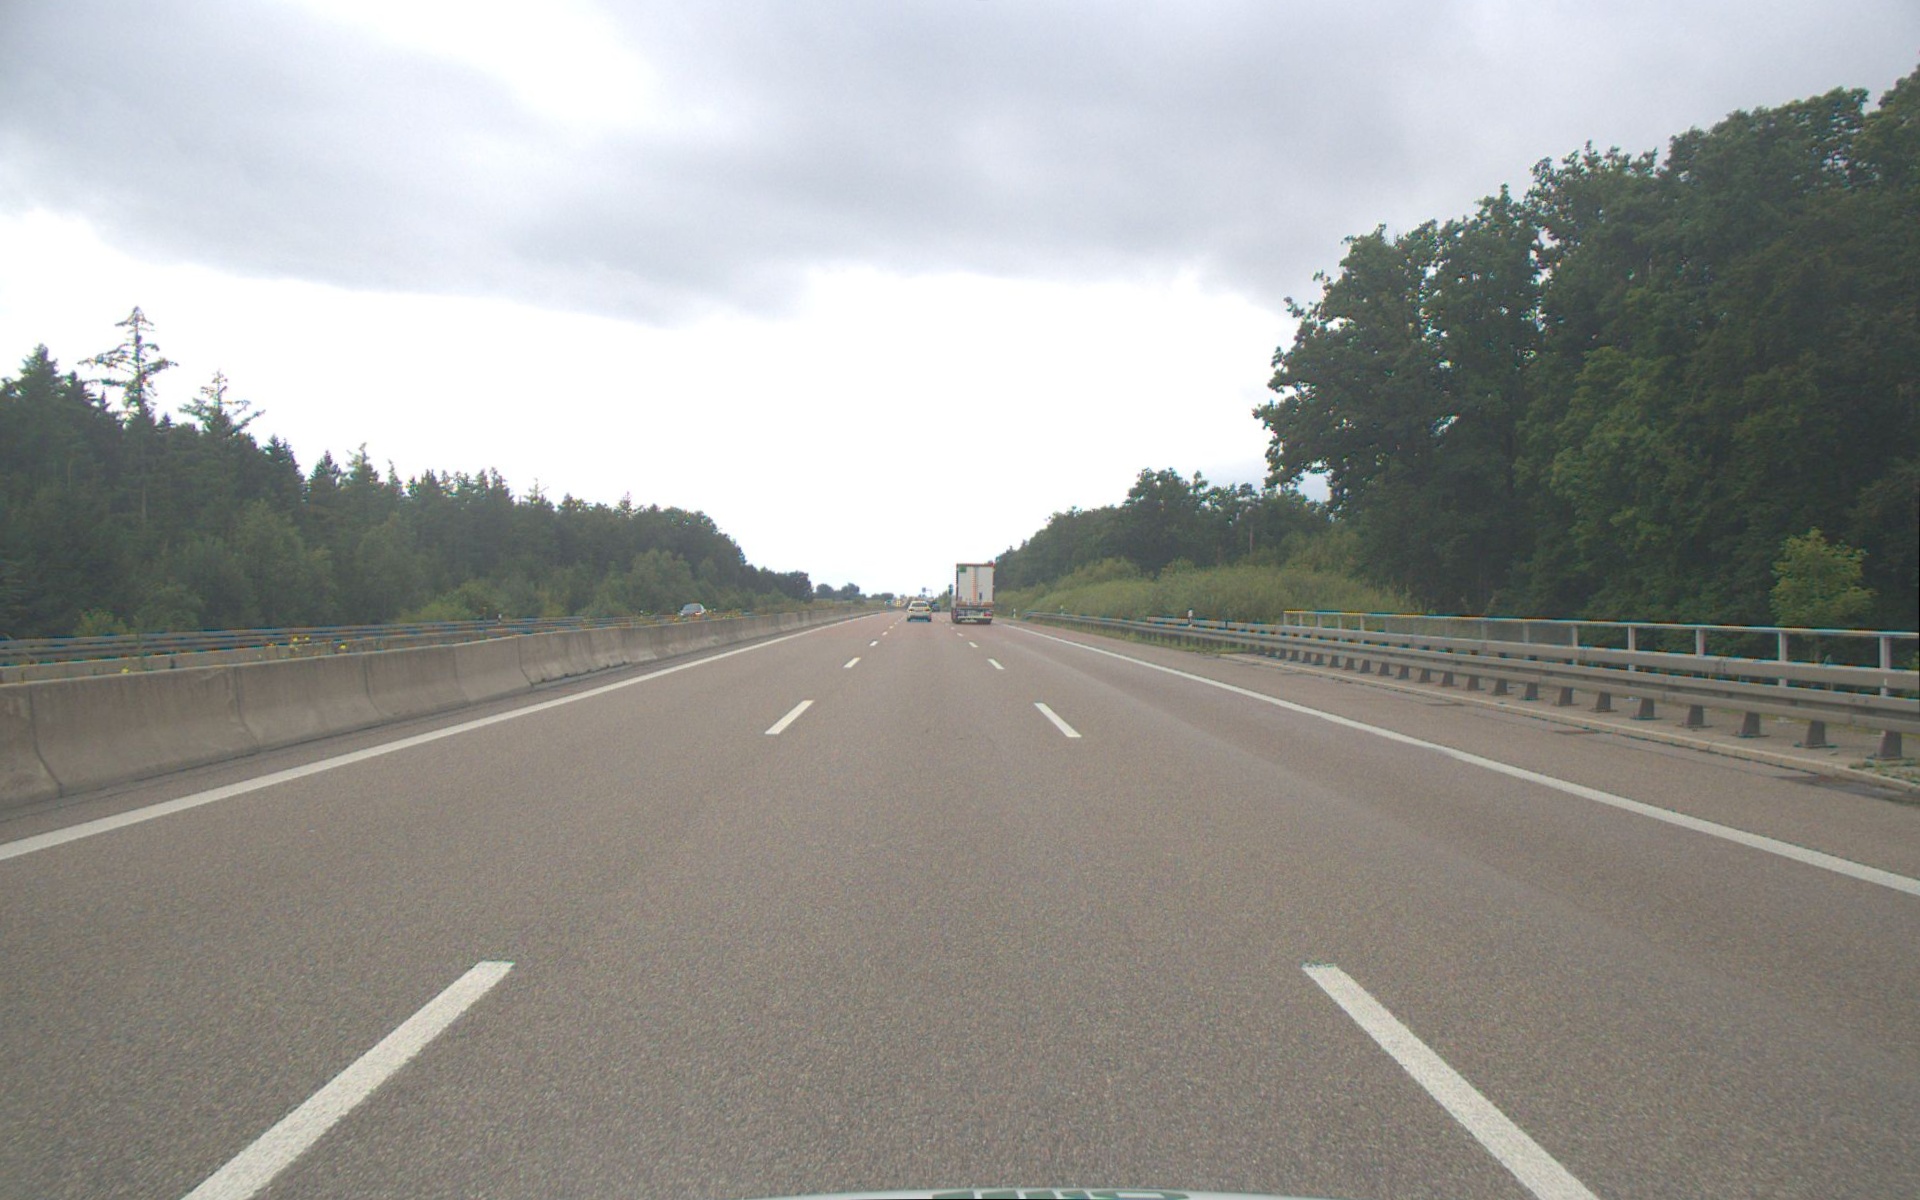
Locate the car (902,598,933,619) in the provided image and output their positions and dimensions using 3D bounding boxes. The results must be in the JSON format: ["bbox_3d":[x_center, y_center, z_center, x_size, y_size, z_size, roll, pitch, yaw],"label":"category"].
[{"bbox_3d":[-3.197,0.654,125.078,2.119,1.476,4.718,2,0,0],"label":"car"}]

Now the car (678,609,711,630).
[{"bbox_3d":[-21.877,1.615,136.421,2.081,1.619,5.196,0,0,-2],"label":"car"}]

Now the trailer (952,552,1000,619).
[{"bbox_3d":[1.044,-0.902,115.864,2.862,4.369,13.609,0,0,-1],"label":"trailer"}]
